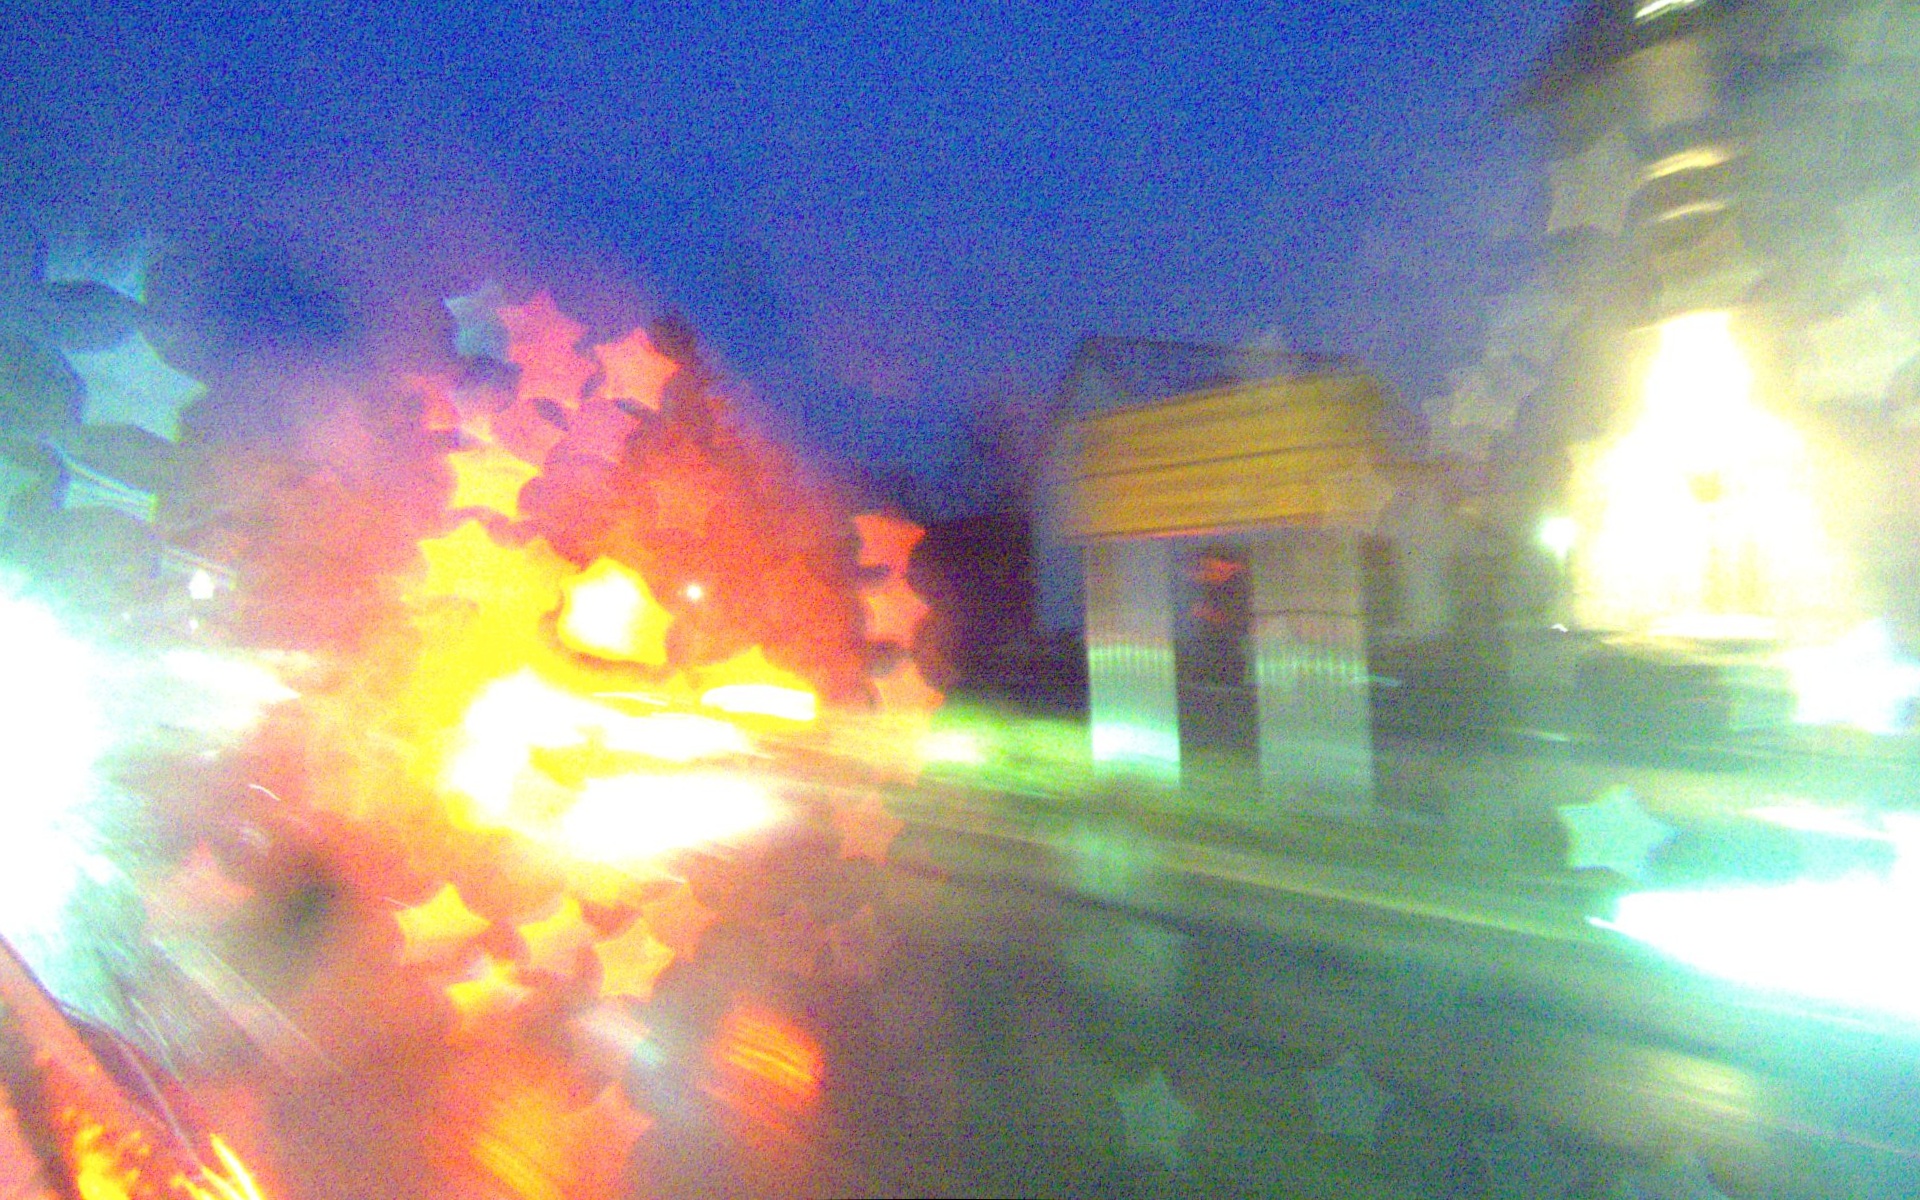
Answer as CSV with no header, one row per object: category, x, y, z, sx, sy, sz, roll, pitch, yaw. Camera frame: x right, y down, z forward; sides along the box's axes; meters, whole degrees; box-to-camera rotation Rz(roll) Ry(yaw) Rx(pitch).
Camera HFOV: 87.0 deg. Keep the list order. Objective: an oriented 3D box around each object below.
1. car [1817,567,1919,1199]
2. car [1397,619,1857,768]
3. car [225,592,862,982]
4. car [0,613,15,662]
car,3.757,0.622,1.386,3.865,1.487,1.695,-2,0,40
car,7.478,0.981,11.817,1.665,1.409,4.162,3,-3,-31
car,-2.808,0.746,6.239,4.398,1.533,1.935,0,1,42
car,-36.921,1.388,38.013,1.931,1.735,4.005,1,-1,-42
